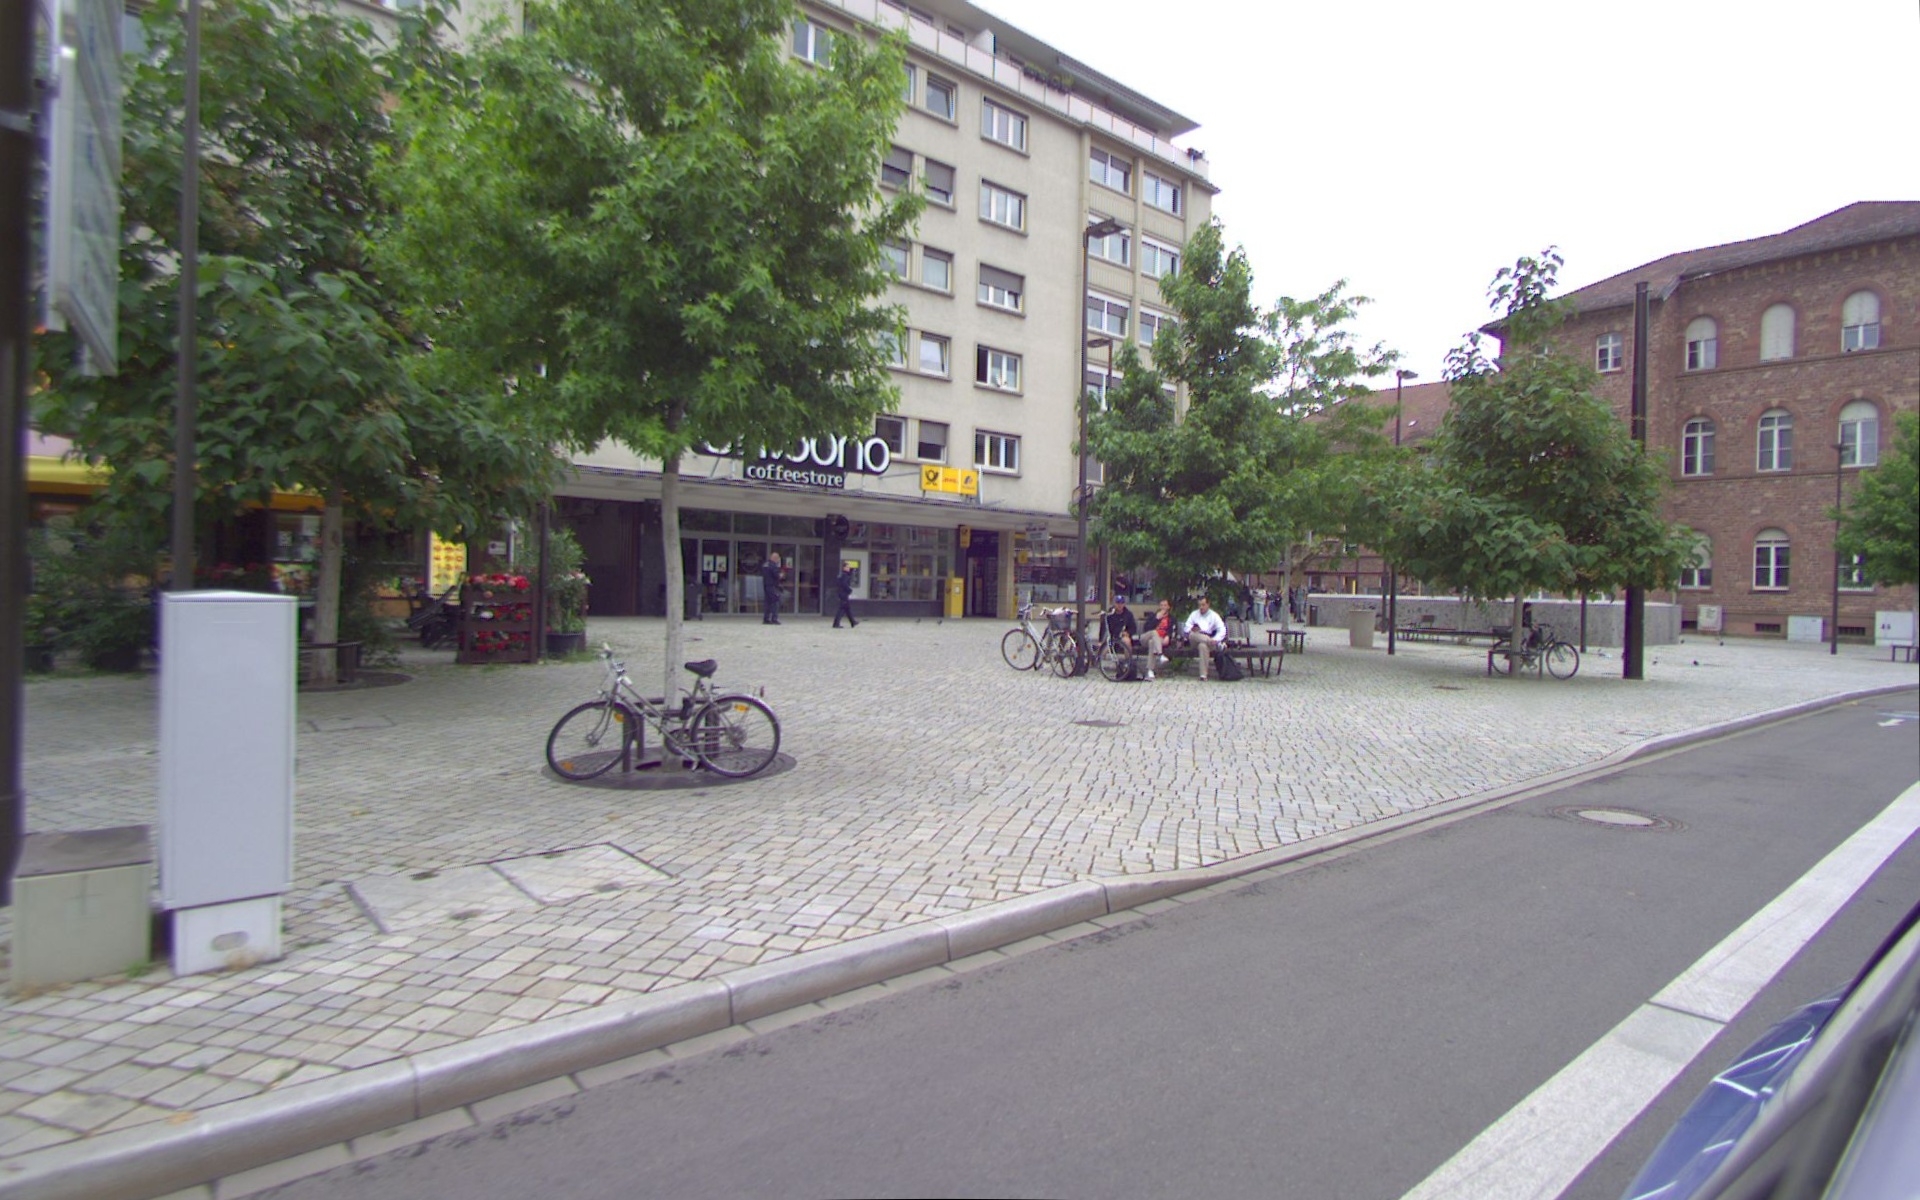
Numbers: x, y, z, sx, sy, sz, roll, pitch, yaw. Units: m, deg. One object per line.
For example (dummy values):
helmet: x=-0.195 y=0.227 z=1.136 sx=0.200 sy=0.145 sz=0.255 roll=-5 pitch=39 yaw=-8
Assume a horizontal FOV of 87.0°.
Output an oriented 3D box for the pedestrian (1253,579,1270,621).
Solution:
pedestrian: x=11.790 y=-0.008 z=39.552 sx=0.584 sy=1.606 sz=0.640 roll=2 pitch=0 yaw=17

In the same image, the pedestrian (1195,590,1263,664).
pedestrian: x=5.270 y=0.517 z=19.794 sx=1.385 sy=1.383 sz=0.629 roll=1 pitch=-1 yaw=-41

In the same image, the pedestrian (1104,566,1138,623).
pedestrian: x=5.616 y=-0.184 z=35.313 sx=0.767 sy=1.925 sz=1.055 roll=3 pitch=1 yaw=32

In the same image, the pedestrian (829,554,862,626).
pedestrian: x=-2.928 y=-0.273 z=25.885 sx=0.704 sy=1.773 sz=0.776 roll=3 pitch=2 yaw=-2

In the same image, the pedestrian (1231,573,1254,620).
pedestrian: x=11.095 y=-0.130 z=39.693 sx=0.630 sy=1.791 sz=0.592 roll=3 pitch=0 yaw=-4

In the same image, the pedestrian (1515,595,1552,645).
pedestrian: x=17.651 y=0.611 z=31.172 sx=0.770 sy=1.473 sz=0.763 roll=3 pitch=2 yaw=20

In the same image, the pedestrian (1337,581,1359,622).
pedestrian: x=16.557 y=0.057 z=43.184 sx=0.579 sy=1.692 sz=0.515 roll=3 pitch=0 yaw=-20

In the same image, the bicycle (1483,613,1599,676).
bicycle: x=11.235 y=0.834 z=19.638 sx=0.632 sy=1.137 sz=1.922 roll=1 pitch=0 yaw=-29

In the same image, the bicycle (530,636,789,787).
bicycle: x=-2.133 y=0.785 z=7.358 sx=1.718 sy=0.990 sz=0.661 roll=1 pitch=0 yaw=-11

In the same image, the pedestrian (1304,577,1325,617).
pedestrian: x=15.151 y=-0.144 z=43.289 sx=0.579 sy=1.692 sz=0.515 roll=3 pitch=0 yaw=-19

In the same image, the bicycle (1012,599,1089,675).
bicycle: x=1.454 y=0.578 z=16.529 sx=0.467 sy=1.124 sz=1.609 roll=1 pitch=1 yaw=-25

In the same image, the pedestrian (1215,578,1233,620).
pedestrian: x=10.243 y=-0.046 z=39.262 sx=0.584 sy=1.606 sz=0.640 roll=2 pitch=0 yaw=17

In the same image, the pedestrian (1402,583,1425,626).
pedestrian: x=18.101 y=0.188 z=40.433 sx=0.579 sy=1.692 sz=0.515 roll=3 pitch=0 yaw=-17

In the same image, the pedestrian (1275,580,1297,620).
pedestrian: x=14.161 y=0.007 z=43.927 sx=0.579 sy=1.692 sz=0.645 roll=3 pitch=0 yaw=-20

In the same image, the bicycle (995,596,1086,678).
bicycle: x=1.232 y=0.547 z=15.957 sx=0.467 sy=1.124 sz=2.045 roll=1 pitch=1 yaw=-24

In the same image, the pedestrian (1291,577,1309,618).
pedestrian: x=16.047 y=-0.102 z=47.758 sx=0.525 sy=1.914 sz=0.662 roll=1 pitch=-1 yaw=-44

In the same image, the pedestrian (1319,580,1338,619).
pedestrian: x=17.212 y=-0.025 z=47.276 sx=0.661 sy=1.780 sz=0.622 roll=0 pitch=-1 yaw=41

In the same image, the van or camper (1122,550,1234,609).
van or camper: x=11.027 y=-0.973 z=50.796 sx=6.444 sy=2.754 sz=1.997 roll=1 pitch=-1 yaw=-40

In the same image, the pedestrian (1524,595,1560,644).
pedestrian: x=18.265 y=0.597 z=31.781 sx=0.770 sy=1.473 sz=0.763 roll=3 pitch=2 yaw=20

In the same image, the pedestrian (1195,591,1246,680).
pedestrian: x=4.192 y=0.558 z=16.276 sx=0.625 sy=1.383 sz=0.680 roll=0 pitch=-1 yaw=31

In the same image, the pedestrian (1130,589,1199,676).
pedestrian: x=3.344 y=0.514 z=16.528 sx=0.900 sy=1.383 sz=0.631 roll=1 pitch=-1 yaw=-23

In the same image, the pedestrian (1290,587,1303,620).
pedestrian: x=16.995 y=0.180 z=51.115 sx=0.525 sy=1.642 sz=0.662 roll=0 pitch=-1 yaw=11

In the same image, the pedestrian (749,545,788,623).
pedestrian: x=-4.820 y=-0.398 z=25.559 sx=0.836 sy=1.909 sz=0.776 roll=1 pitch=-1 yaw=-2

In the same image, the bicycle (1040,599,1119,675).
bicycle: x=1.938 y=0.580 z=16.612 sx=0.467 sy=1.124 sz=1.609 roll=1 pitch=1 yaw=-25

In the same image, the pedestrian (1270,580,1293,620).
pedestrian: x=13.705 y=-0.008 z=43.197 sx=0.579 sy=1.692 sz=0.644 roll=3 pitch=0 yaw=-25

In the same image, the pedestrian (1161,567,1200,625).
pedestrian: x=7.050 y=-0.123 z=32.380 sx=0.769 sy=1.794 sz=1.052 roll=3 pitch=1 yaw=39

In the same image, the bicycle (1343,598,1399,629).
bicycle: x=16.145 y=0.528 z=39.791 sx=0.462 sy=1.077 sz=2.028 roll=1 pitch=2 yaw=-41

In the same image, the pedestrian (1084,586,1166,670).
pedestrian: x=2.780 y=0.466 z=17.073 sx=1.253 sy=1.383 sz=0.545 roll=1 pitch=-1 yaw=-23
